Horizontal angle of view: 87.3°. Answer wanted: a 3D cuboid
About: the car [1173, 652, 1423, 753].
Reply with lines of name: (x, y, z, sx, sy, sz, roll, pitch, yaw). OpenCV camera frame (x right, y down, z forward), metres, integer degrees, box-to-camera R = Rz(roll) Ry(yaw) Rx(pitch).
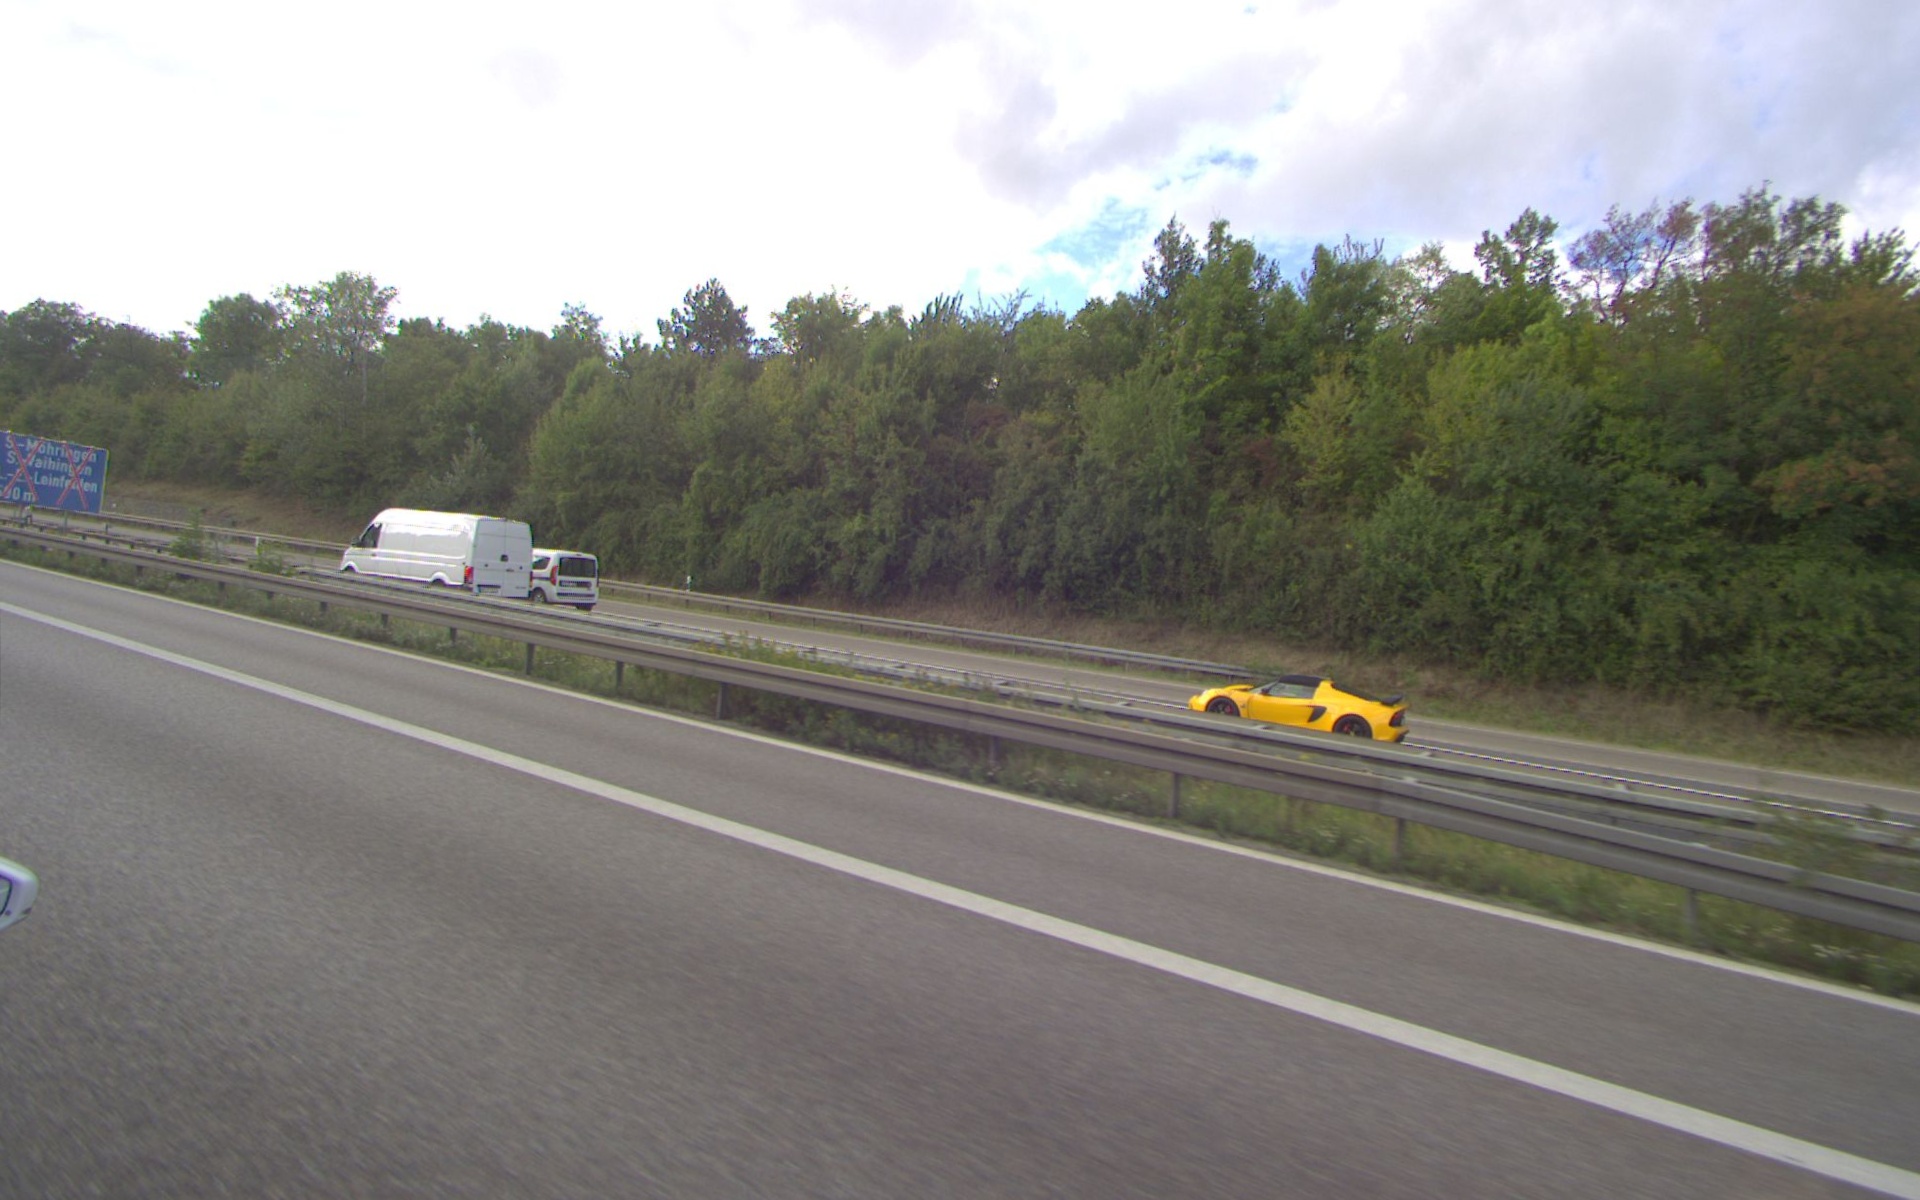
car: (6.313, 1.869, 18.905, 4.099, 1.195, 1.715, 7, -1, 31)

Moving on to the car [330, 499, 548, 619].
car: (-14.544, -1.192, 27.907, 6.630, 2.586, 2.072, 7, 1, 32)

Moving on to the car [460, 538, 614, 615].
car: (-13.094, -0.733, 31.056, 4.685, 1.772, 1.846, 7, -1, 32)
